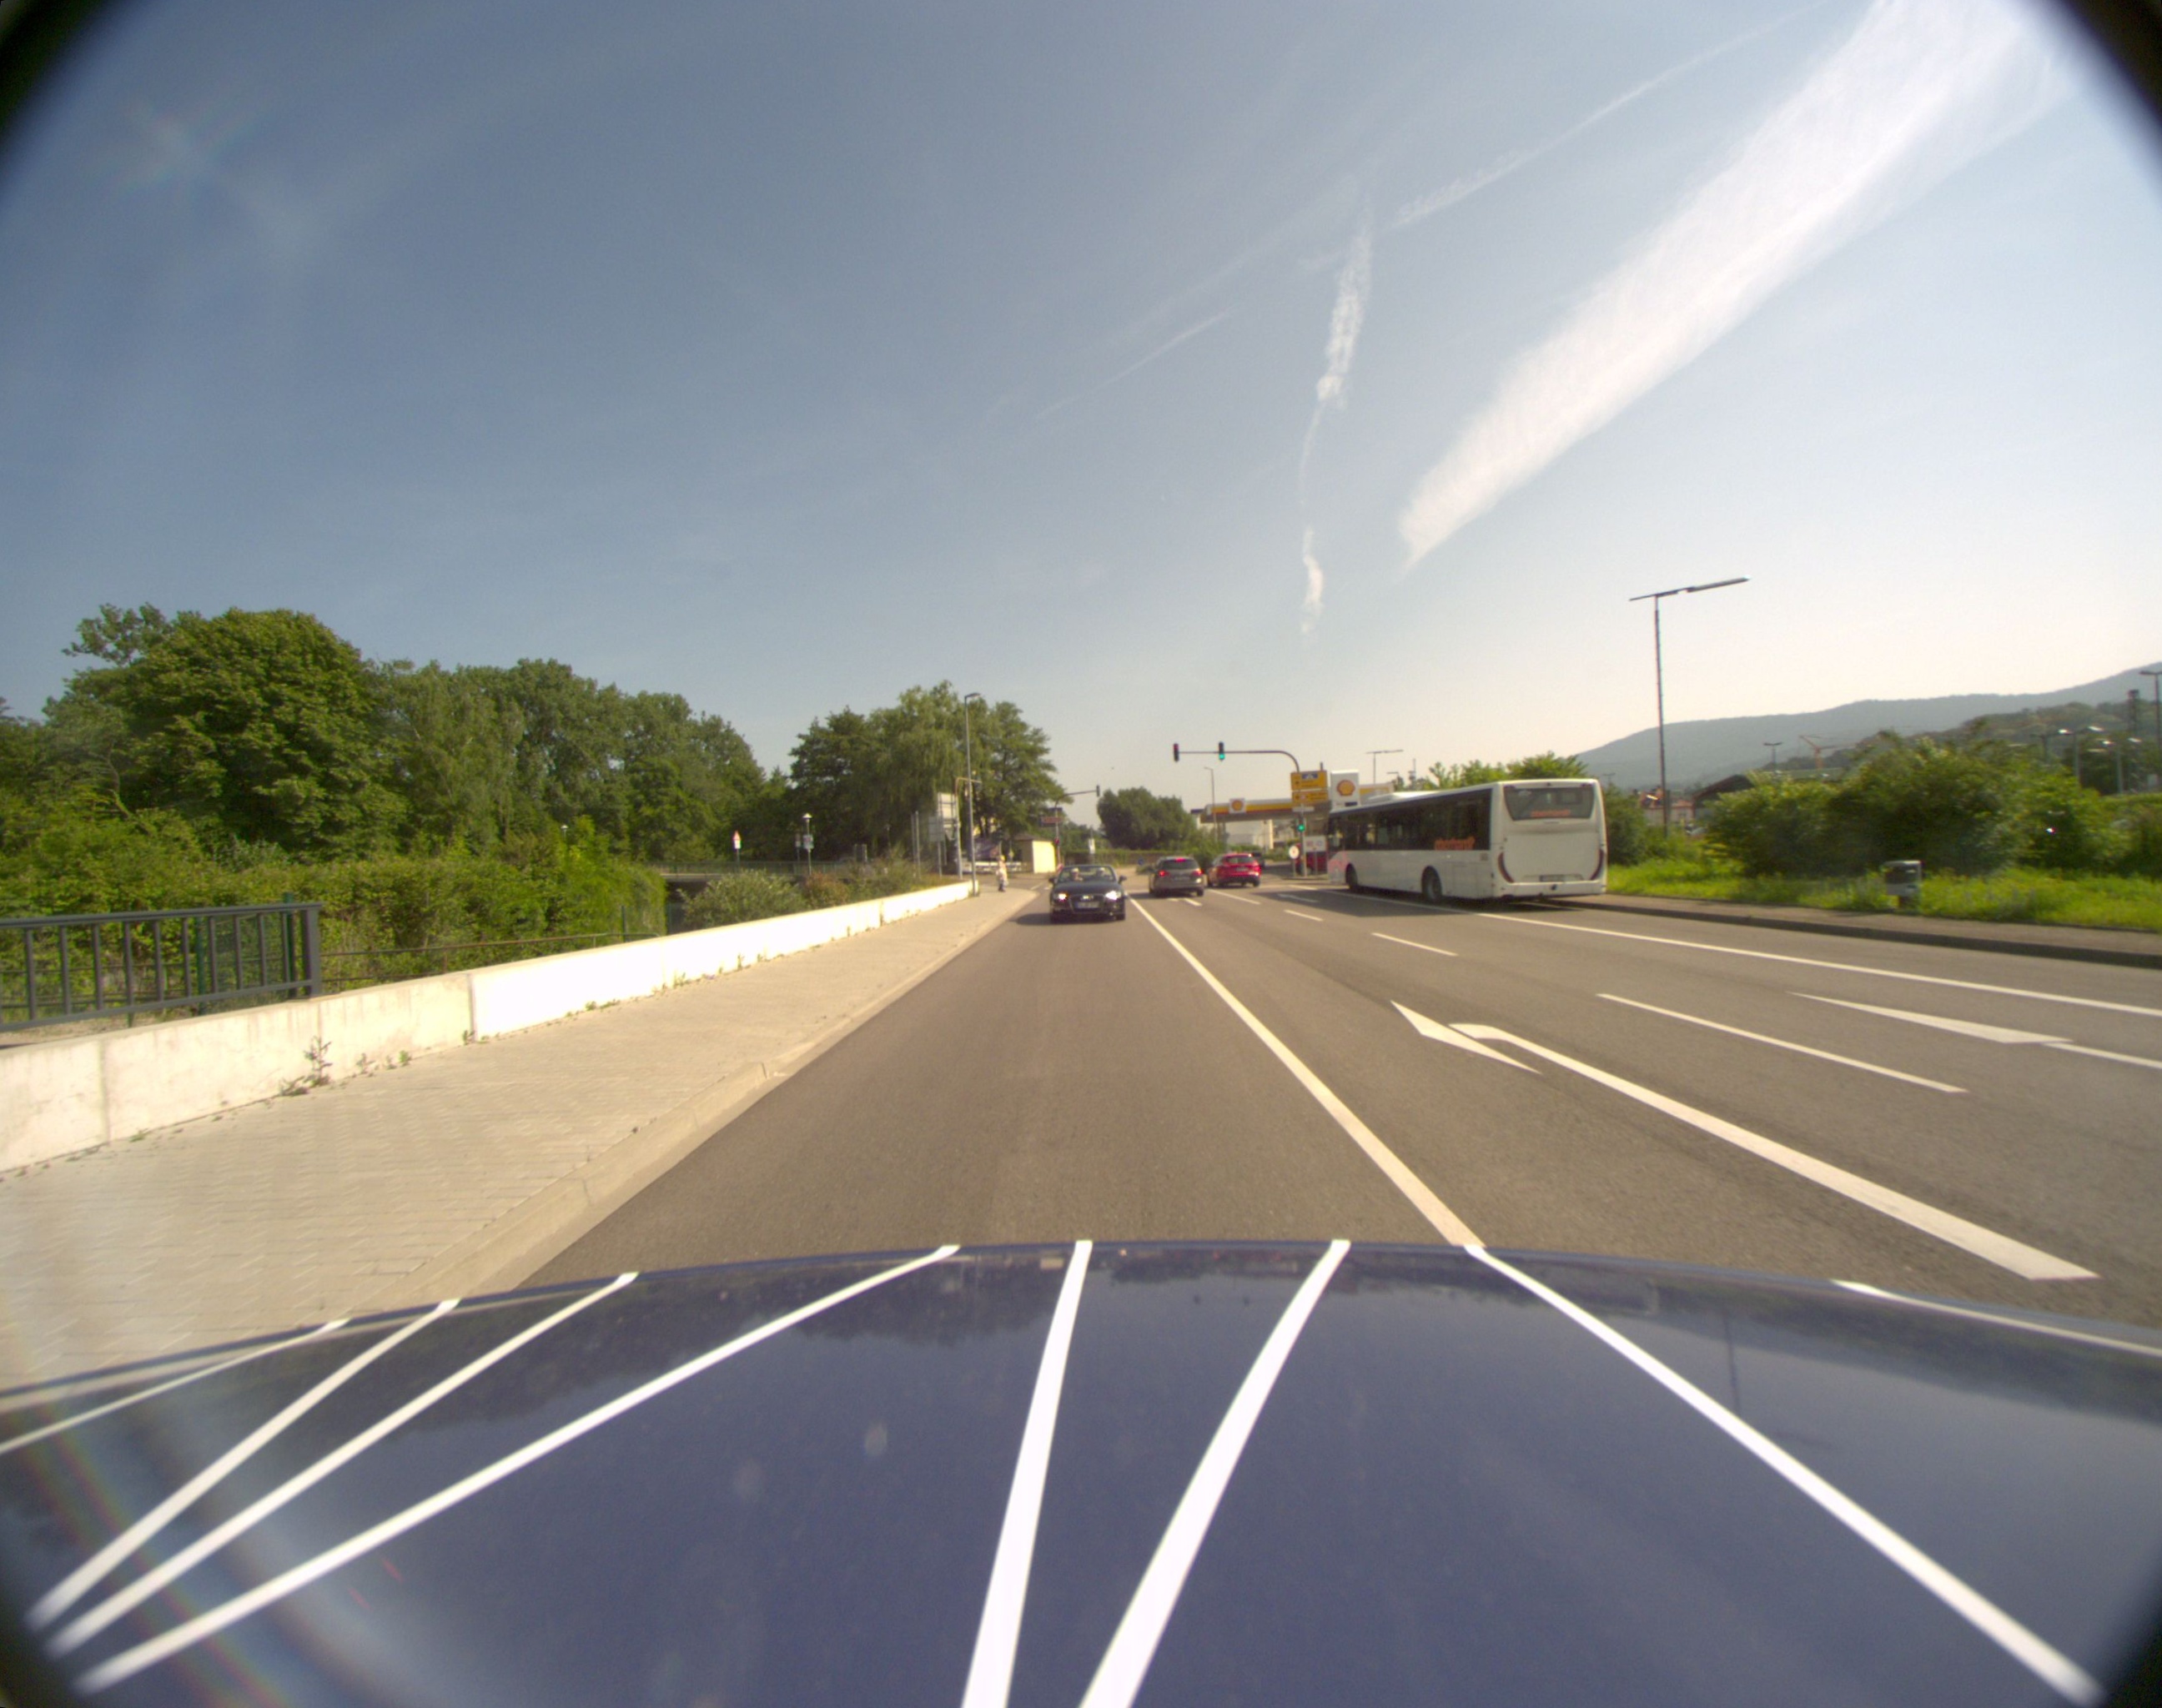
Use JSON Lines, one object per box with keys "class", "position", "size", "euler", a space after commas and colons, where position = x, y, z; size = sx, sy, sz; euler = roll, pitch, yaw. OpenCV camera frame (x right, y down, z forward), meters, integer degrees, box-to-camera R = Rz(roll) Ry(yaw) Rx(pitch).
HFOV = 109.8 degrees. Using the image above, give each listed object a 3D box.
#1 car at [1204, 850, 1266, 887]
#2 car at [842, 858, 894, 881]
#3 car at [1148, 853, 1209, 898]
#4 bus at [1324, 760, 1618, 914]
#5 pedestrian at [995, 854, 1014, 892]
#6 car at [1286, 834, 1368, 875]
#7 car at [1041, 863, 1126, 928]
{"class": "car", "position": [6.768, 0.587, 33.796], "size": [1.842, 1.483, 4.431], "euler": [-2, 1, 0]}
{"class": "car", "position": [-14.993, 1.066, 53.465], "size": [4.072, 1.509, 1.671], "euler": [0, 1, 44]}
{"class": "car", "position": [3.533, 0.732, 28.245], "size": [1.776, 1.464, 4.219], "euler": [-2, 1, 1]}
{"class": "bus", "position": [10.460, -0.420, 22.636], "size": [2.627, 3.291, 11.955], "euler": [-2, 1, 0]}
{"class": "pedestrian", "position": [-3.462, 0.867, 34.342], "size": [0.713, 1.661, 0.592], "euler": [-2, 1, -10]}
{"class": "car", "position": [13.189, 0.011, 40.948], "size": [3.783, 1.785, 1.703], "euler": [-6, 0, 6]}
{"class": "car", "position": [0.164, 0.963, 19.252], "size": [1.868, 1.323, 4.233], "euler": [-2, 0, 3]}
